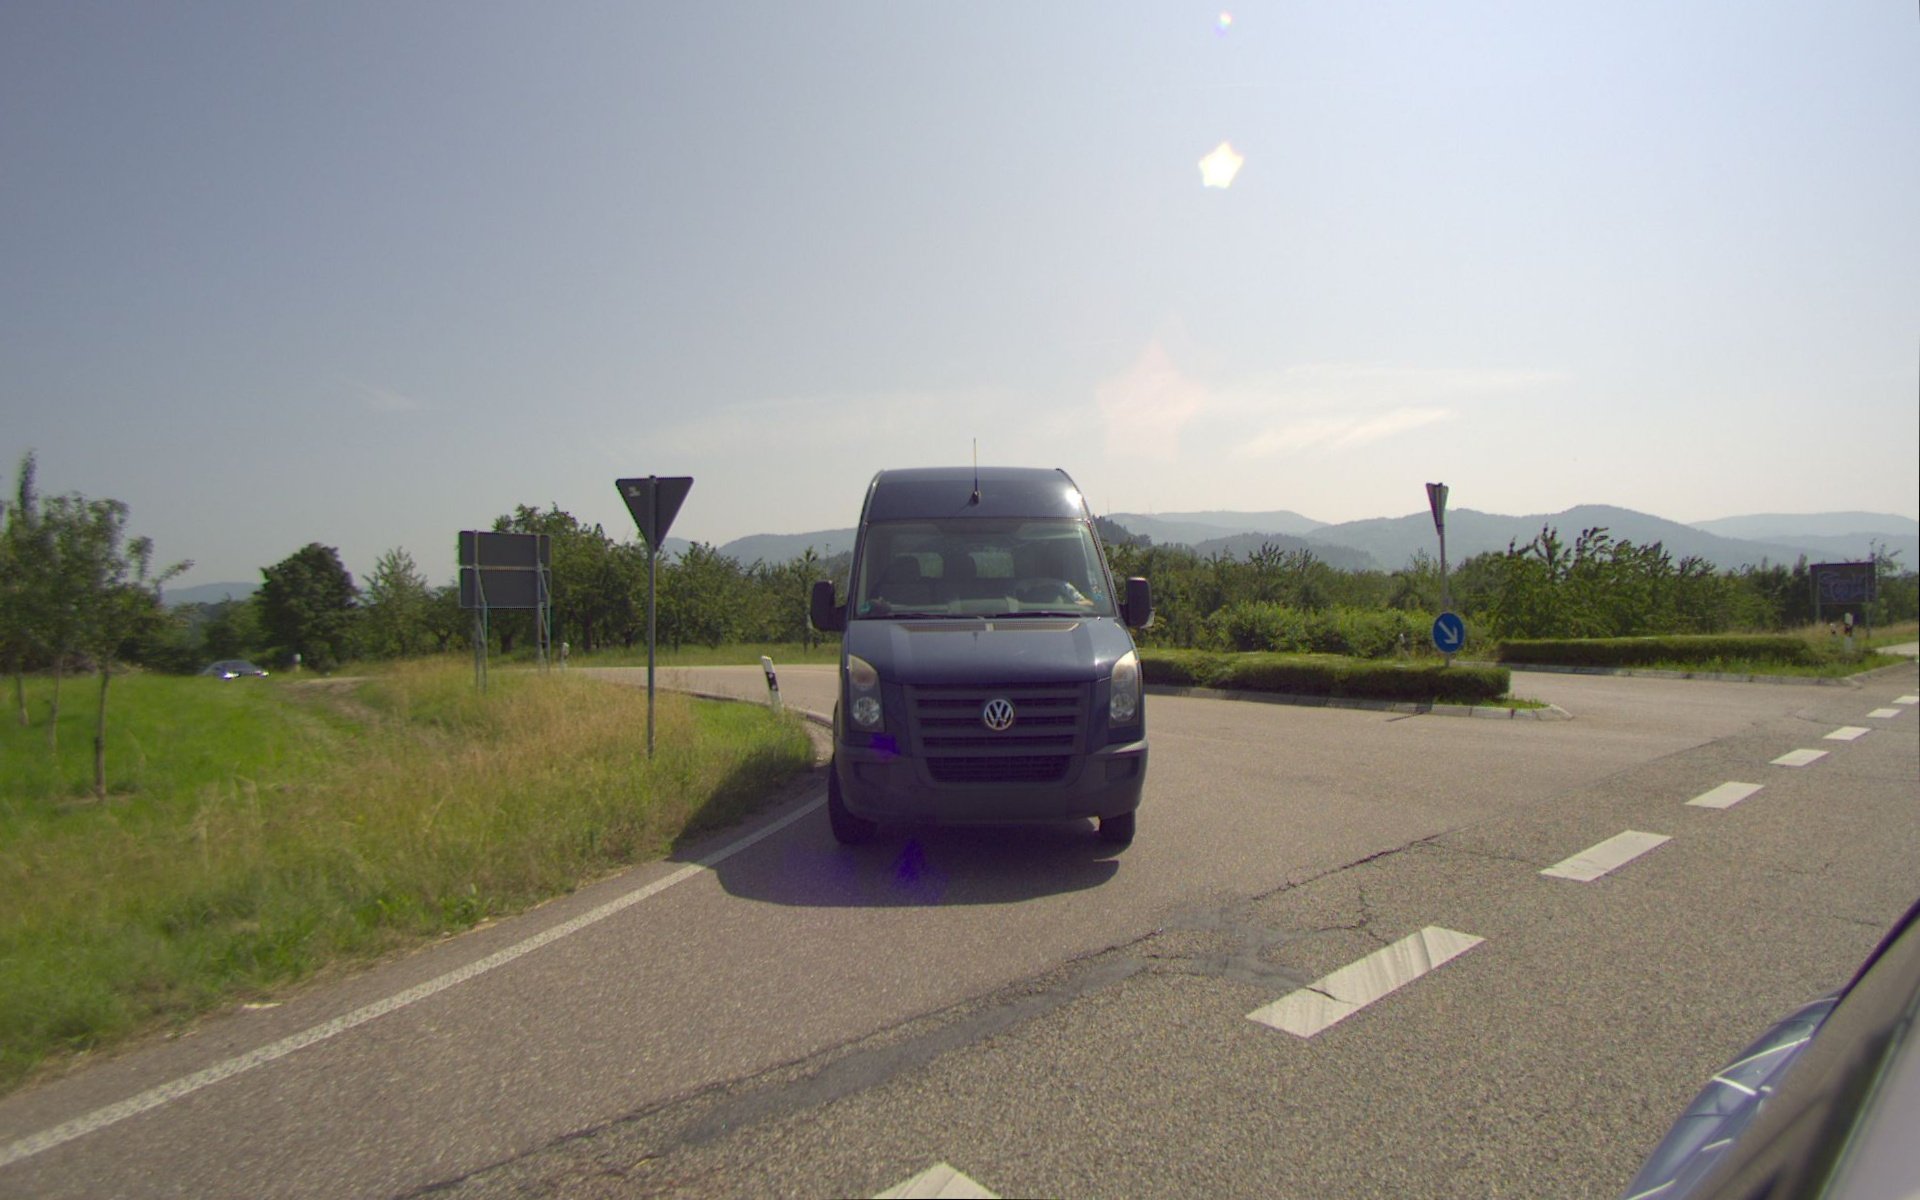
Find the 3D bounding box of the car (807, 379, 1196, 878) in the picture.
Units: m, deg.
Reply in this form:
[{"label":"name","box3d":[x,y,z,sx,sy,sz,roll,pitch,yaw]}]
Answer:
[{"label":"car","box3d":[0.127,0.193,8.487,2.022,2.608,6.313,-1,-1,-2]}]

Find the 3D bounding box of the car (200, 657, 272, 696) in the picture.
[{"label":"car","box3d":[-39.350,4.097,54.958,4.650,1.717,1.973,-1,2,39]}]
